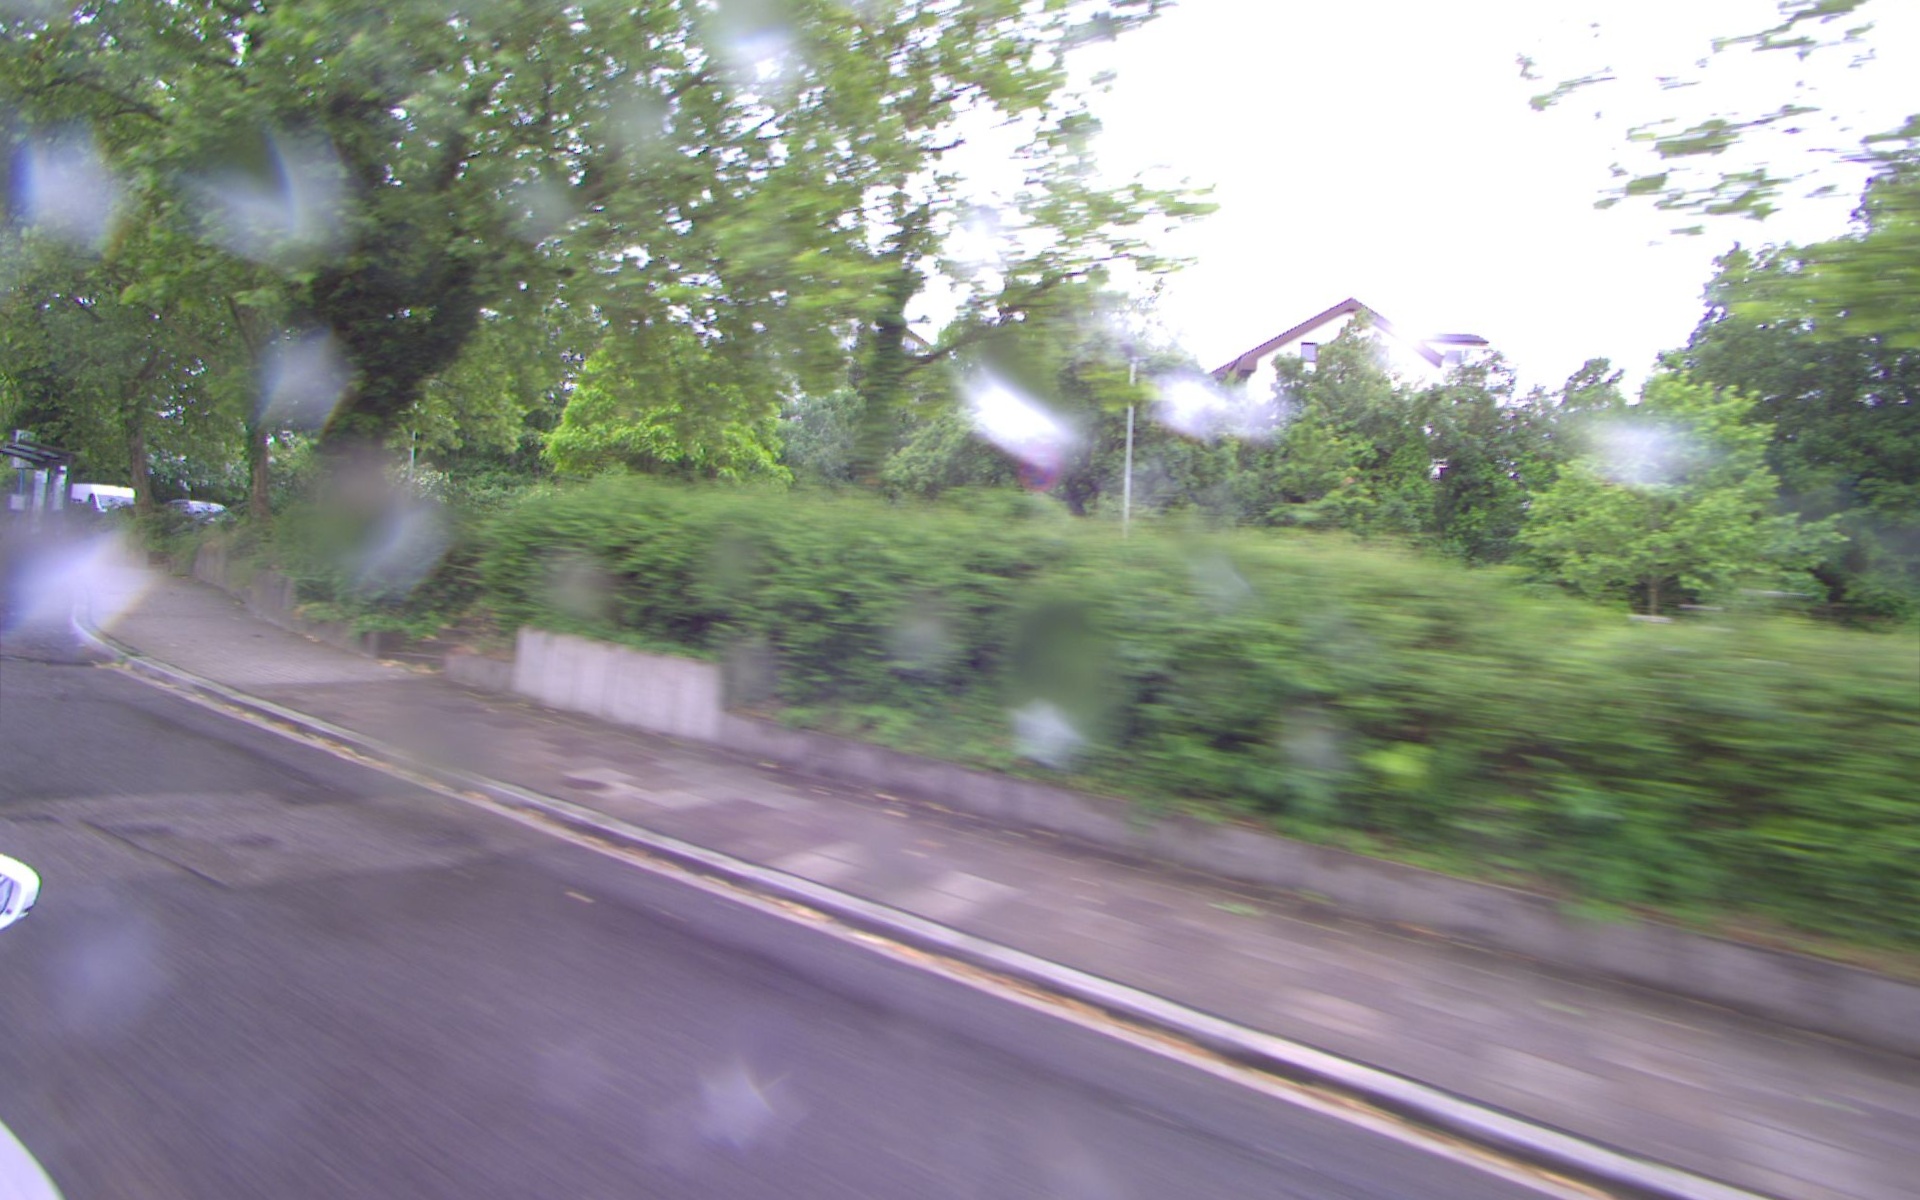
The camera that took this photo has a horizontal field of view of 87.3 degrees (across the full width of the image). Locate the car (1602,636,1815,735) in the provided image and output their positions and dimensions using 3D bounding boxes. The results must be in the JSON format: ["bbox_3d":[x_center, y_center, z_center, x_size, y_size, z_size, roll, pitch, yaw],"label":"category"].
[{"bbox_3d":[18.792,2.154,25.515,3.932,1.836,1.999,7,-2,30],"label":"car"}]

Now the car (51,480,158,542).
[{"bbox_3d":[-40.618,-4.240,47.736,4.931,2.311,2.049,7,-1,29],"label":"car"}]

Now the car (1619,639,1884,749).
[{"bbox_3d":[15.427,1.842,19.914,3.713,1.525,1.999,7,-2,30],"label":"car"}]

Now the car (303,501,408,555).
[{"bbox_3d":[-32.450,-3.810,54.199,1.961,2.036,5.211,8,-2,5],"label":"car"}]
